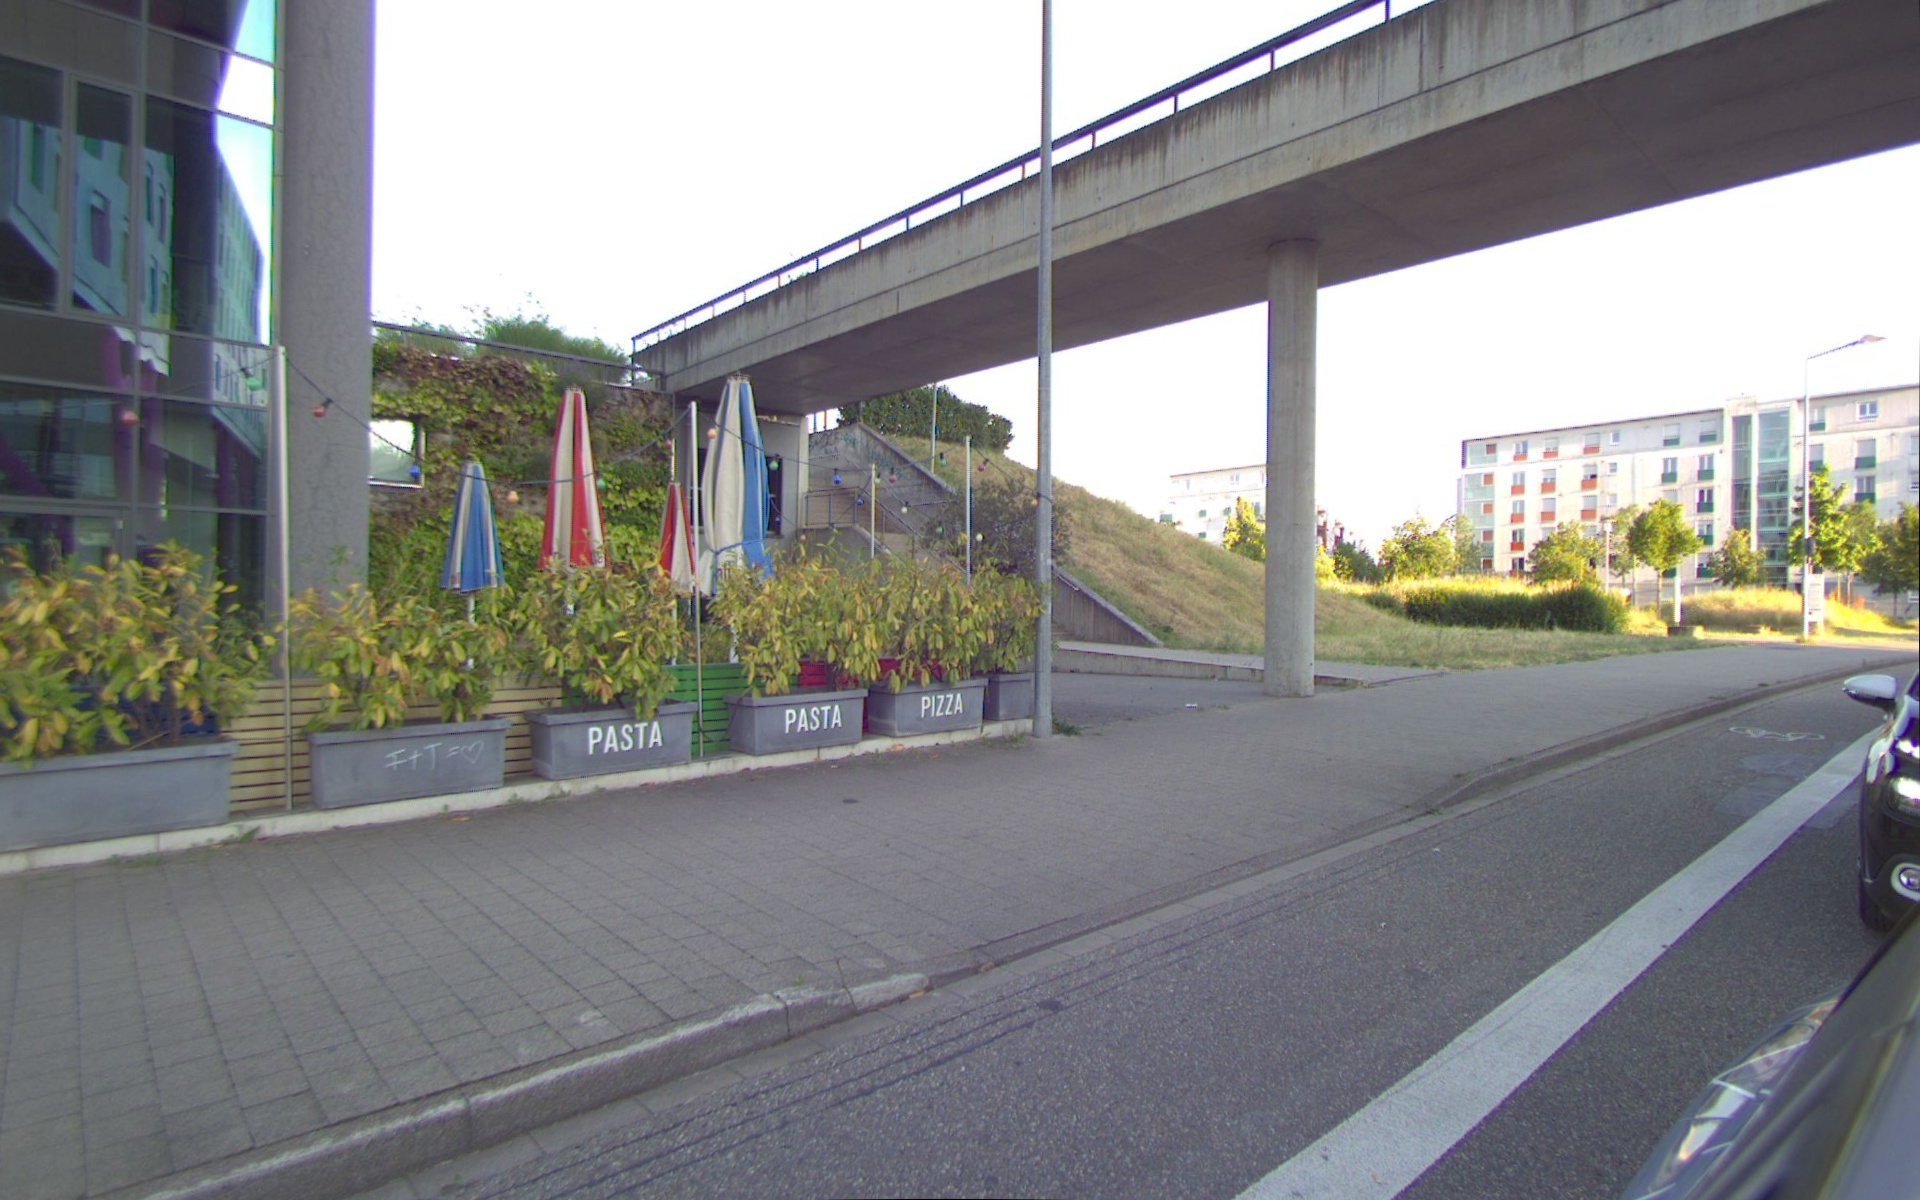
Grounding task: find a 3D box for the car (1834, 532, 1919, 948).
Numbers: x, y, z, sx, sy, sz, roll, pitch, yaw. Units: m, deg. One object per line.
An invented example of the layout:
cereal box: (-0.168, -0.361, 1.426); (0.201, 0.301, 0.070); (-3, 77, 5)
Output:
car: (5.513, 0.540, 4.735); (4.003, 1.572, 1.757); (0, 0, -43)
